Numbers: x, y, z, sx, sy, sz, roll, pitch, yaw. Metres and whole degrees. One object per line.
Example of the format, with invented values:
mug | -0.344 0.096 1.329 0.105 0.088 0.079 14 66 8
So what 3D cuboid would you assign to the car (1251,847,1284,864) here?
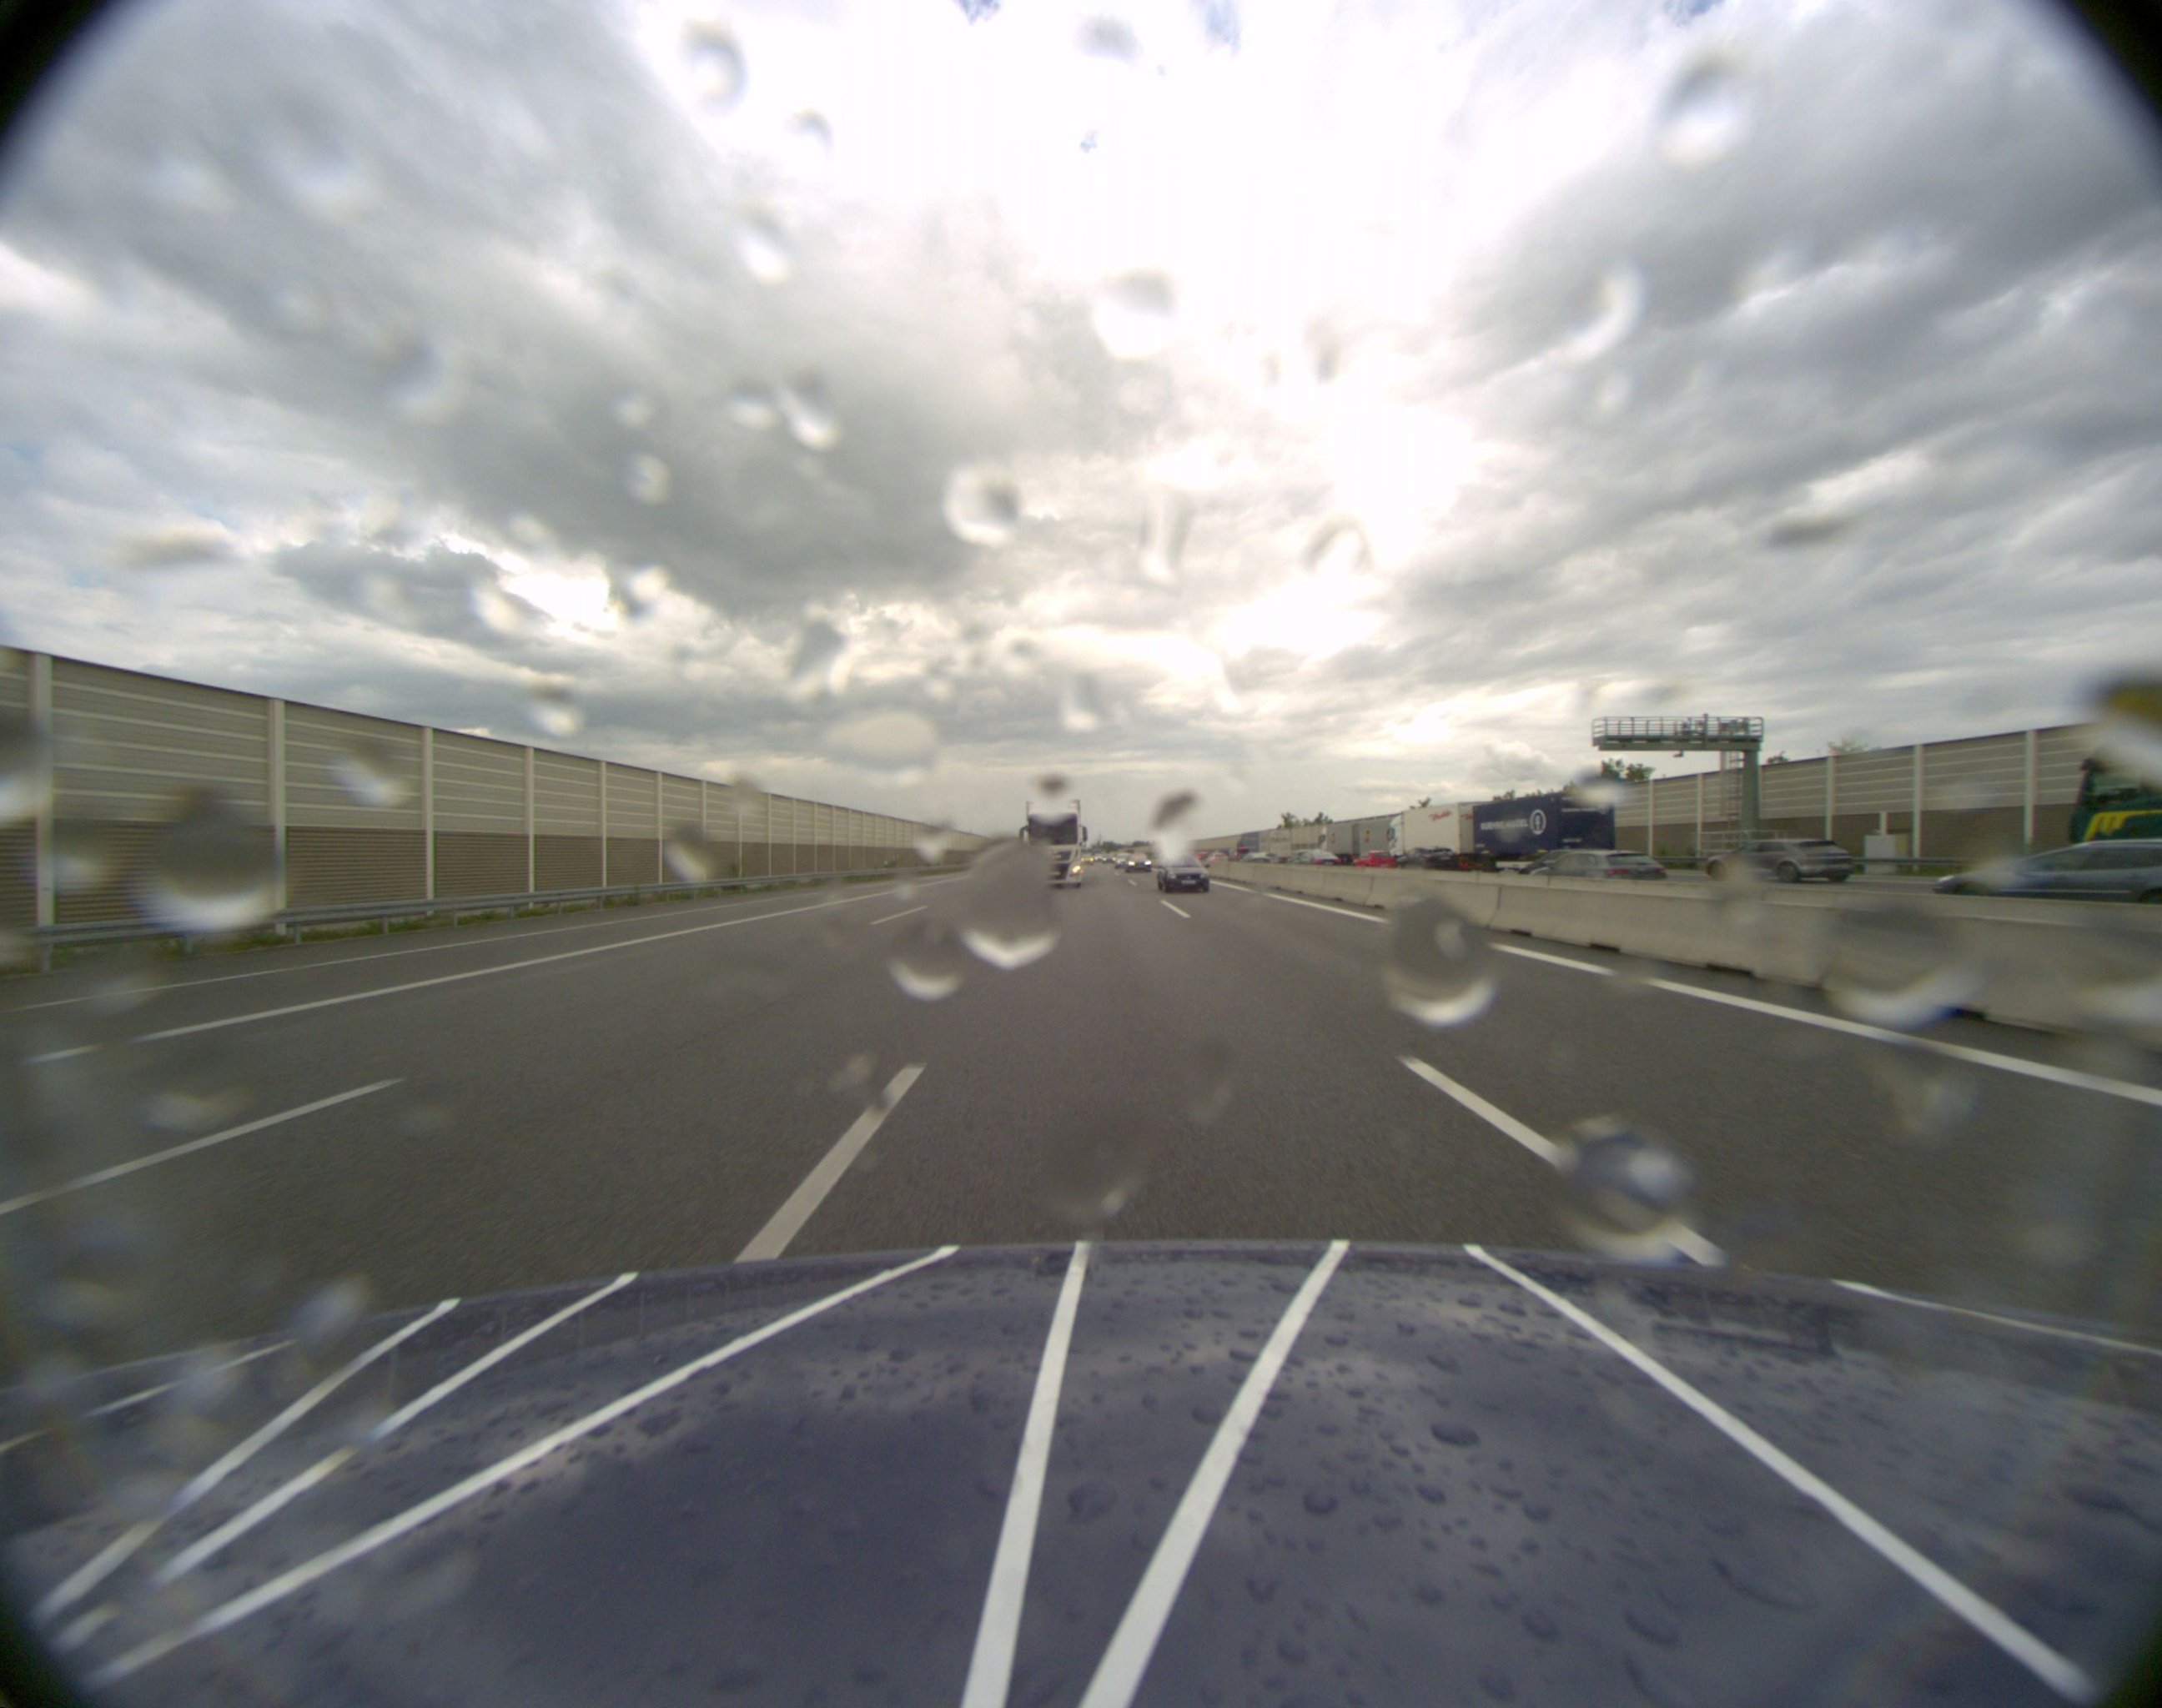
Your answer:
car | 19.129 0.107 78.130 2.066 1.591 5.807 -2 0 1

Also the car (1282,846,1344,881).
car | 14.452 0.555 47.707 2.066 1.991 5.807 -2 0 0

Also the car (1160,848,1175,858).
car | 15.219 -0.221 134.580 1.925 1.622 4.694 -2 0 -2

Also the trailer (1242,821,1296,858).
trailer | 22.640 -1.695 92.482 3.066 4.136 14.314 -2 0 0

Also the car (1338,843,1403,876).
car | 19.050 0.310 50.306 2.066 1.991 5.807 -2 0 0

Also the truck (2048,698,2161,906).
truck | 22.213 -1.030 13.520 2.752 4.012 5.725 -2 1 0

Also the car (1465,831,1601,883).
car | 18.274 0.101 31.158 2.066 1.881 5.807 -2 0 0

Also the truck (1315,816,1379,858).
truck | 26.300 -1.616 75.764 2.693 3.876 10.499 -2 0 0

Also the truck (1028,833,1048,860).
truck | -6.742 -1.187 121.190 2.599 4.088 11.369 -2 1 0

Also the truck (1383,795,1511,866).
truck | 22.676 -1.355 48.063 2.945 3.923 11.066 -2 0 1

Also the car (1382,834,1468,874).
car | 18.752 -0.015 41.772 2.066 1.991 5.807 -2 0 0

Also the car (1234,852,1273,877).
car | 15.006 0.868 66.369 2.066 1.991 5.807 -2 0 0

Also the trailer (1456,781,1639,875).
trailer | 22.399 -1.141 37.475 2.938 3.917 10.119 -2 0 1

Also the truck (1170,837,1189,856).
truck | 25.921 -1.910 200.268 3.225 4.829 11.696 -2 0 -1

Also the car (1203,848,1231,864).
car | 14.864 0.205 83.185 2.066 1.555 5.807 -2 0 1

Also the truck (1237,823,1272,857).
truck | 22.716 -1.760 99.890 3.078 4.220 6.693 -2 1 1

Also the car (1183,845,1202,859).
car | 15.650 -0.317 106.665 1.924 1.880 5.426 -2 0 1

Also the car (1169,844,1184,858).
car | 18.272 -0.610 145.751 2.031 2.459 5.148 -2 0 -2

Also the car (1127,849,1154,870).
car | 4.514 0.362 58.211 1.776 1.451 4.479 -2 1 0

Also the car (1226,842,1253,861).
car | 18.490 -0.315 88.893 2.066 2.146 5.432 -2 0 1

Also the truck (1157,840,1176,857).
truck | 25.769 -1.616 229.094 3.448 4.829 17.226 -2 0 -1

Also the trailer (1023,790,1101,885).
trailer | -0.700 -0.823 41.256 2.925 4.188 13.198 -3 1 3

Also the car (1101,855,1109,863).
car | 4.474 0.842 142.728 1.498 1.395 4.000 -2 1 1

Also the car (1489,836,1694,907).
car | 14.600 0.433 22.304 2.066 1.745 5.807 -2 0 0

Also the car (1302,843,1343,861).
car | 22.948 -0.221 72.397 2.066 1.591 5.807 -2 0 1

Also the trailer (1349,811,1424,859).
trailer | 26.255 -1.560 65.857 2.728 3.849 9.283 -2 0 0

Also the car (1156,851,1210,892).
car | 3.823 0.621 28.972 1.578 1.395 4.000 -2 1 1

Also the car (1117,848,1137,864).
car | 4.464 0.197 74.022 1.732 1.395 4.000 -2 1 1

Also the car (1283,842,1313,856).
car | 26.539 -0.635 93.043 2.066 1.591 5.807 -2 0 1

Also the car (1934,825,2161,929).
car | 18.615 0.343 13.455 2.066 1.690 4.410 -2 0 0

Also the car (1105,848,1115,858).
car | 4.437 -0.108 115.844 1.498 1.395 4.000 -2 1 1

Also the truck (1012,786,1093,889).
truck | -1.138 -0.717 34.491 2.912 4.146 5.193 -3 1 4

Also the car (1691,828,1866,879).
car | 26.222 -0.043 28.866 2.066 1.713 4.957 -2 0 0

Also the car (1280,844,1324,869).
car | 18.869 0.223 65.133 2.066 1.991 5.807 -2 0 1

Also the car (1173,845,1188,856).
car | 15.616 -0.613 119.373 1.817 1.622 4.208 -2 0 -1

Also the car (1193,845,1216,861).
car | 15.395 -0.091 94.906 1.938 1.886 5.432 -2 0 1

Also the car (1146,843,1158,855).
car | 17.182 -1.216 184.409 2.133 2.733 4.931 -2 1 -2

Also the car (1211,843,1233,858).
car | 18.847 -0.436 101.496 1.938 1.886 5.432 -2 0 1

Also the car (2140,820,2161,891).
car | 26.961 0.016 16.492 2.066 1.713 4.210 -2 0 0

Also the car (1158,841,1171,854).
car | 18.859 -1.446 171.977 2.133 2.733 4.931 -2 1 -2

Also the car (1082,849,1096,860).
car | 1.080 0.049 103.452 1.732 1.395 4.000 -2 1 1
